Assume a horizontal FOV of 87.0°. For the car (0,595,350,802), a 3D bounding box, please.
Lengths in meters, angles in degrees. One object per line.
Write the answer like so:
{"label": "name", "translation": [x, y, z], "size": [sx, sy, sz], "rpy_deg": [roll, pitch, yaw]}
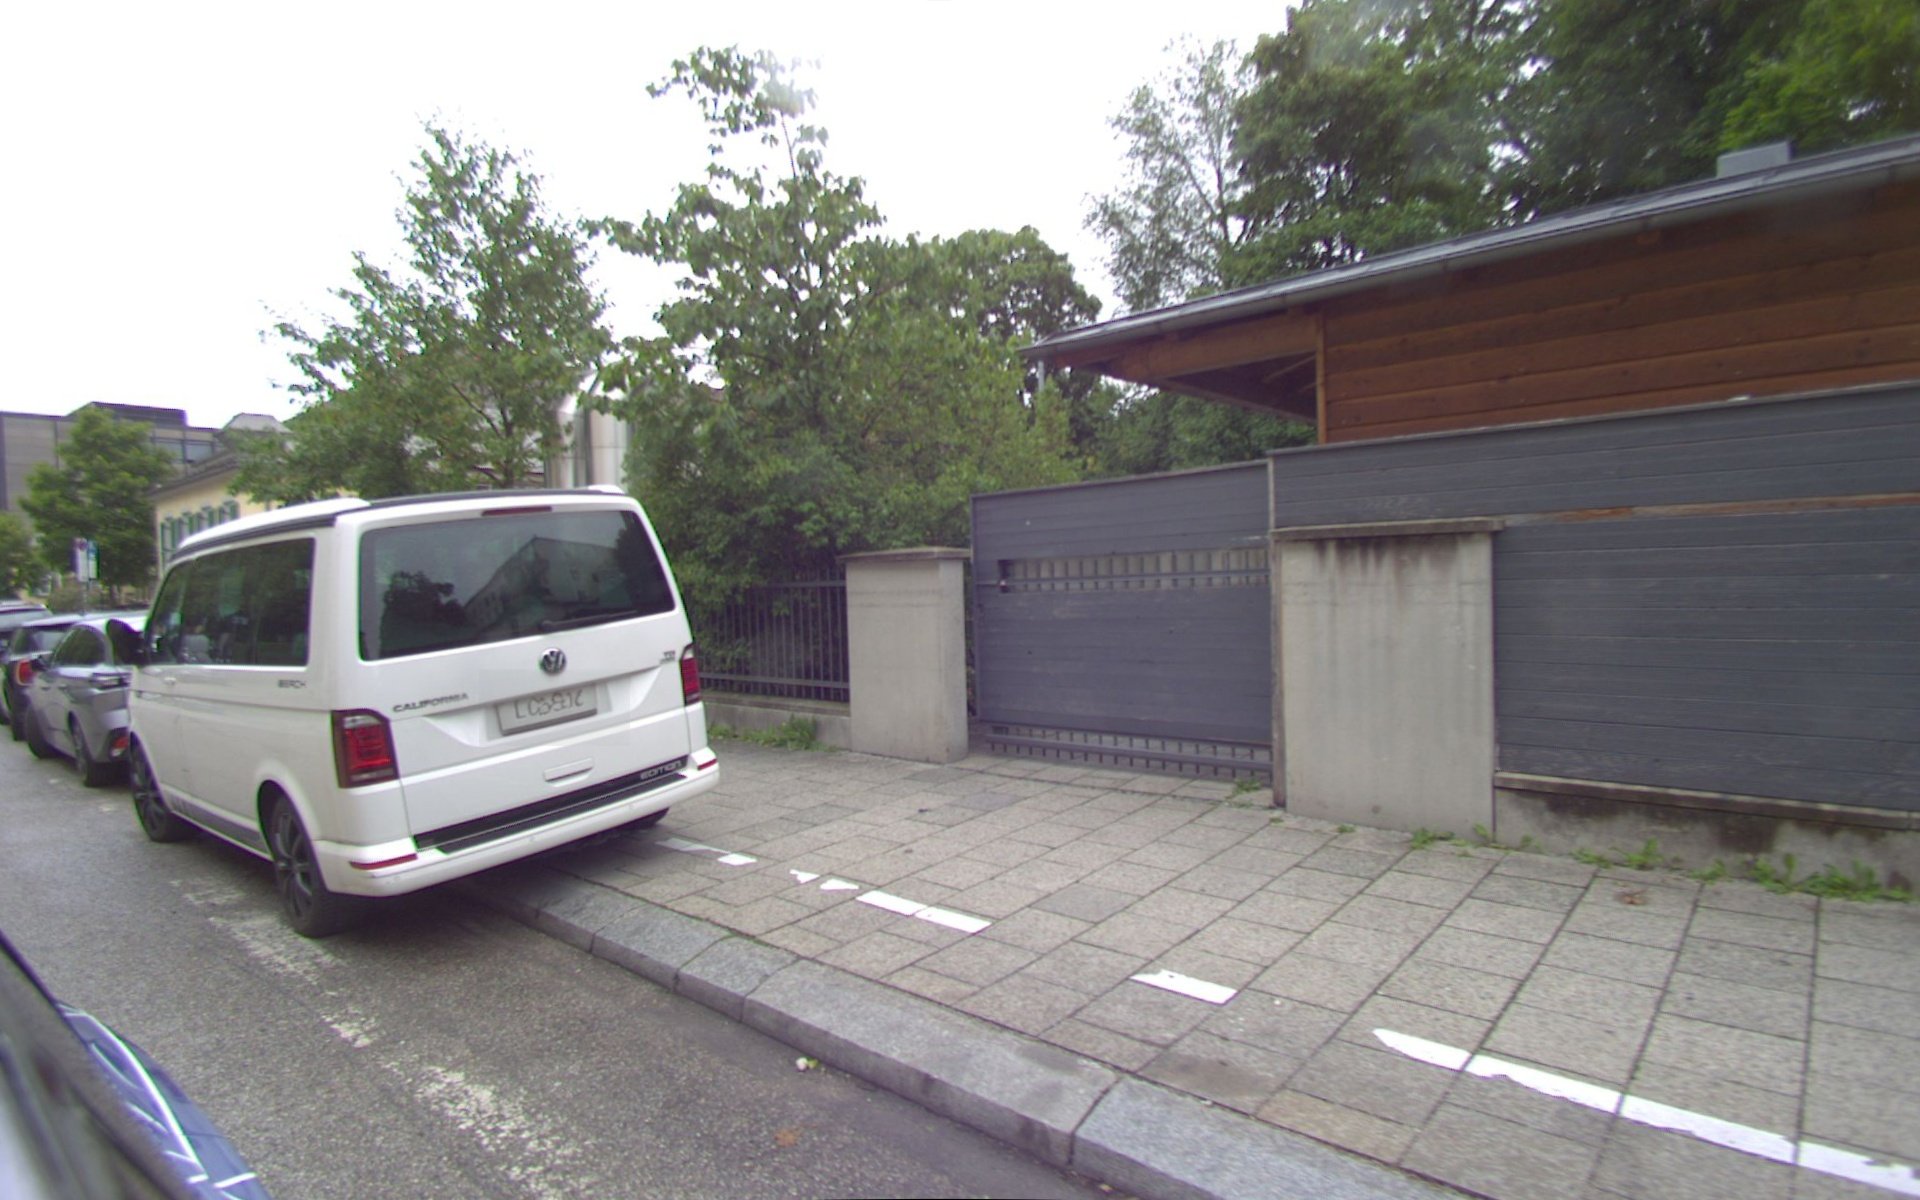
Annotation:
{"label": "car", "translation": [-8.043, 0.807, 10.103], "size": [4.691, 1.555, 1.868], "rpy_deg": [-1, 1, 40]}

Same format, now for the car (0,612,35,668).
{"label": "car", "translation": [-28.649, 1.185, 29.458], "size": [4.651, 1.530, 1.878], "rpy_deg": [-1, 2, 40]}

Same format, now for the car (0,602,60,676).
{"label": "car", "translation": [-24.611, 0.978, 25.888], "size": [4.809, 1.704, 1.881], "rpy_deg": [-1, 3, 44]}

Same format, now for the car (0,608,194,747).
{"label": "car", "translation": [-11.798, 0.913, 13.537], "size": [4.188, 1.556, 1.838], "rpy_deg": [-1, -1, 44]}

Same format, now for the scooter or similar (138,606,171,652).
{"label": "scooter or similar", "translation": [-24.829, 0.875, 31.200], "size": [0.370, 1.353, 1.357], "rpy_deg": [-2, 1, -21]}

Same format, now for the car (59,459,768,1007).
{"label": "car", "translation": [-3.612, 0.475, 6.106], "size": [5.148, 2.005, 1.947], "rpy_deg": [-1, 2, 40]}

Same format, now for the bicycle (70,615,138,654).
{"label": "bicycle", "translation": [-27.671, 1.101, 32.725], "size": [0.387, 1.145, 1.612], "rpy_deg": [-1, 1, 40]}

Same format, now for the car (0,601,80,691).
{"label": "car", "translation": [-19.740, 0.919, 20.967], "size": [4.744, 1.619, 1.825], "rpy_deg": [-1, 3, 44]}

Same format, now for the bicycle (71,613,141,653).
{"label": "bicycle", "translation": [-27.883, 1.064, 33.056], "size": [0.352, 1.180, 1.684], "rpy_deg": [-1, 1, 40]}

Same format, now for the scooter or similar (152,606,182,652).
{"label": "scooter or similar", "translation": [-23.819, 0.864, 30.406], "size": [0.358, 1.324, 1.257], "rpy_deg": [-2, 1, -24]}
